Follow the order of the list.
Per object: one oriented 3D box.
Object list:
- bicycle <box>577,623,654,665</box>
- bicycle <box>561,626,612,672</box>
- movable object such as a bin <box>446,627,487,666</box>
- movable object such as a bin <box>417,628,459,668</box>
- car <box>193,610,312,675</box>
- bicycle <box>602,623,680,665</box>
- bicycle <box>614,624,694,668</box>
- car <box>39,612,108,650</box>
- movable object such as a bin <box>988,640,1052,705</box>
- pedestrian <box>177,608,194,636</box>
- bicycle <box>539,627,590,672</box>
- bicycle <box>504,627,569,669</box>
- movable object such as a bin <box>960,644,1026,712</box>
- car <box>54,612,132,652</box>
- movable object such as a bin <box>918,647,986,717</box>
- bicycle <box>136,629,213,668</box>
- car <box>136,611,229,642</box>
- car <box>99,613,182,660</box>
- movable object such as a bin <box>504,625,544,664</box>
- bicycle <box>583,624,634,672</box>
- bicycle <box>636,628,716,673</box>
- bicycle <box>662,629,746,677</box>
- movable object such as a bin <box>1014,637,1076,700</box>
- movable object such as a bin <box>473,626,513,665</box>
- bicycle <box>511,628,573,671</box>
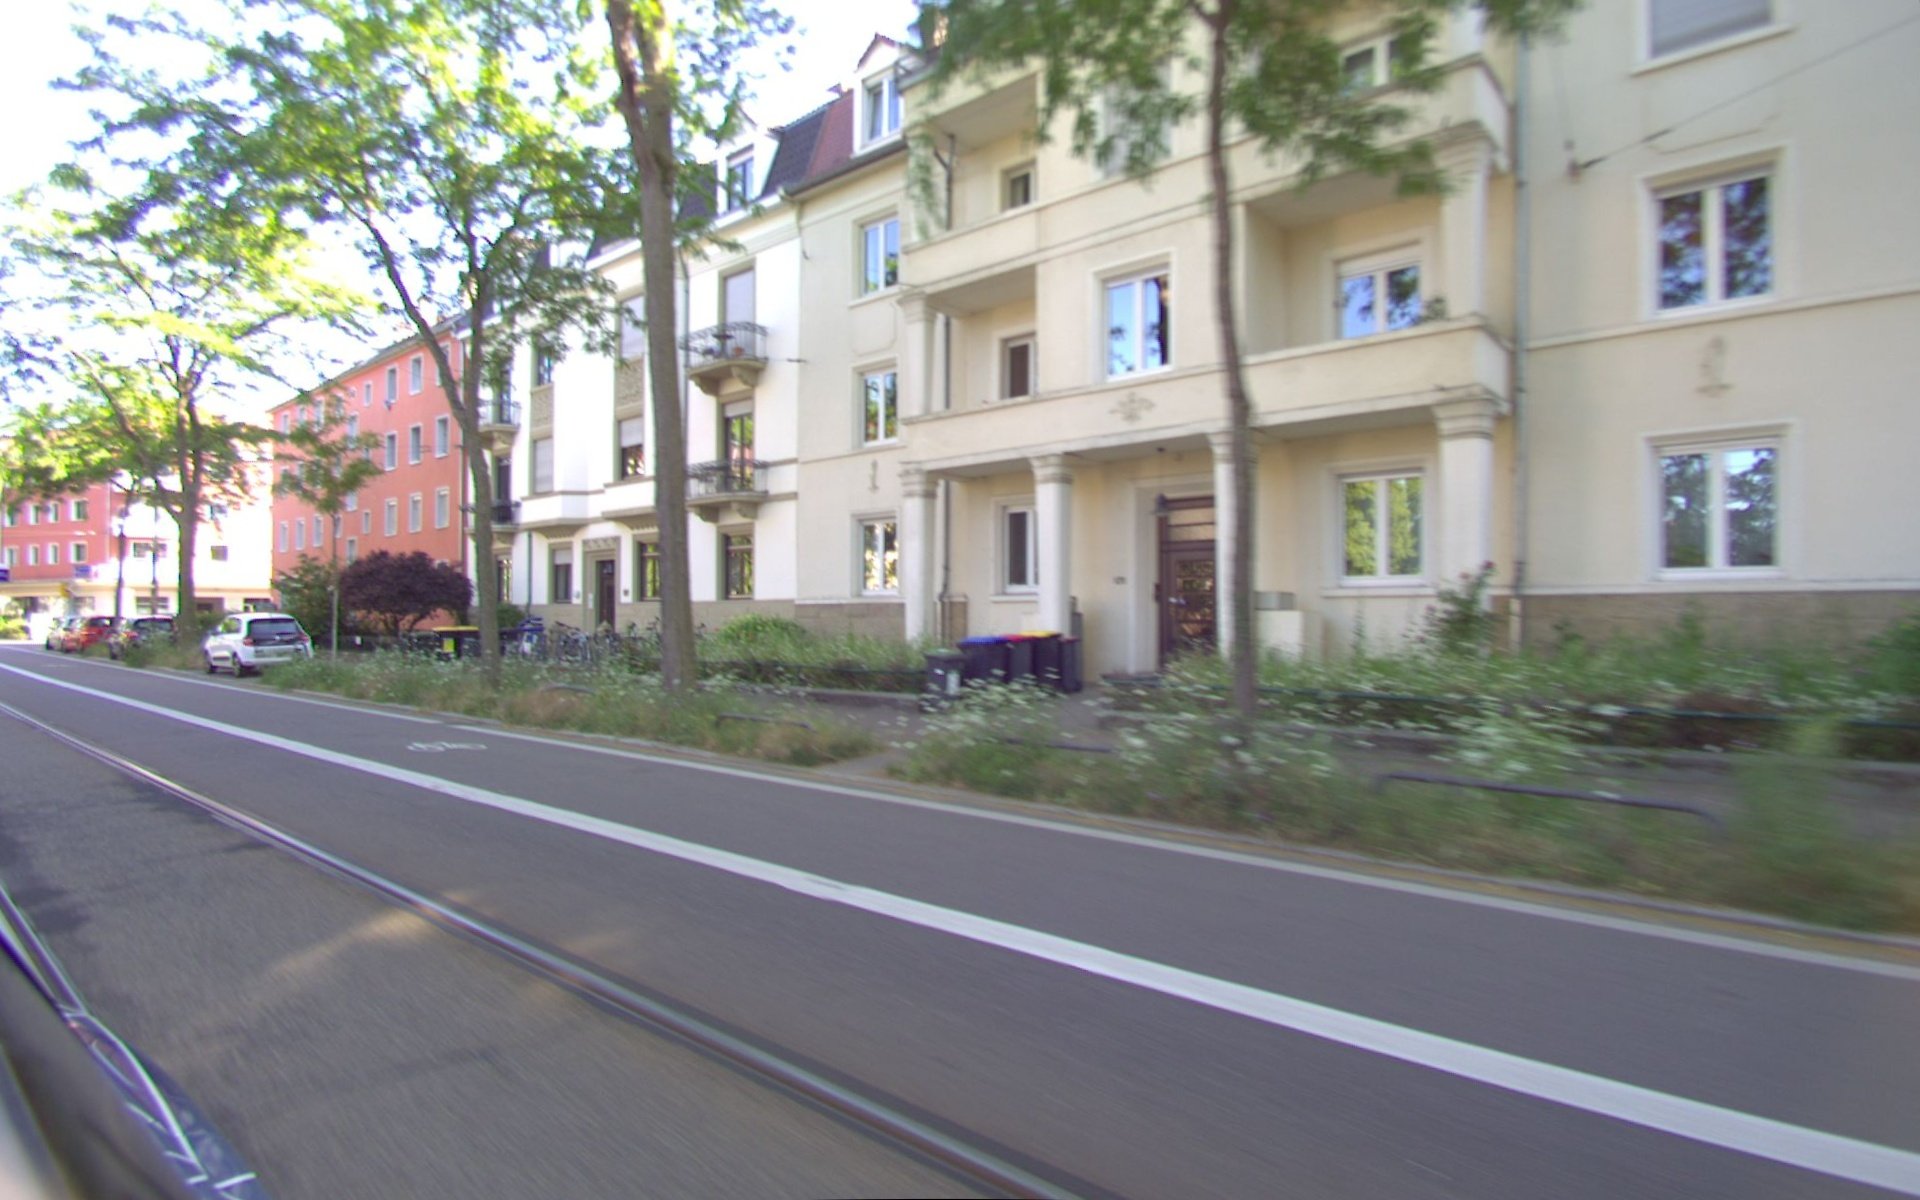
[{"bbox_3d":[-9.030,1.145,26.574,1.833,1.004,0.559,-2,-1,-8],"label":"bicycle"},{"bbox_3d":[-8.454,1.092,22.990,0.550,1.004,1.863,0,-1,-3],"label":"bicycle"},{"bbox_3d":[-13.802,1.299,28.285,0.895,1.062,0.730,-1,-2,41],"label":"movable object such as a bin"},{"bbox_3d":[-14.295,1.300,27.724,0.895,1.049,0.730,-1,-2,41],"label":"movable object such as a bin"},{"bbox_3d":[-18.313,1.061,26.138,3.686,1.547,1.609,-1,-1,39],"label":"car"},{"bbox_3d":[-8.164,1.120,25.956,1.833,1.004,0.559,-2,-1,-8],"label":"bicycle"},{"bbox_3d":[-7.630,1.132,25.269,1.833,1.004,0.559,-2,-1,-8],"label":"bicycle"},{"bbox_3d":[-37.768,1.289,43.093,4.092,1.517,1.558,-1,-1,39],"label":"car"},{"bbox_3d":[0.916,1.083,15.352,0.739,0.928,0.621,-1,0,41],"label":"movable object such as a bin"},{"bbox_3d":[-50.397,1.445,65.845,0.791,1.779,0.510,1,-2,-30],"label":"pedestrian"},{"bbox_3d":[-9.254,1.134,23.760,0.550,1.004,1.863,0,-1,-3],"label":"bicycle"},{"bbox_3d":[-10.662,1.192,25.564,0.552,1.004,1.855,0,-1,12],"label":"bicycle"},{"bbox_3d":[0.481,1.128,14.887,0.739,0.928,0.621,-1,0,41],"label":"movable object such as a bin"},{"bbox_3d":[-33.975,1.231,39.627,4.091,1.465,1.558,-1,-1,38],"label":"car"},{"bbox_3d":[-0.116,1.152,14.489,0.739,0.928,0.621,-1,0,41],"label":"movable object such as a bin"},{"bbox_3d":[-24.055,1.465,31.004,0.542,1.129,1.793,-1,-1,41],"label":"bicycle"},{"bbox_3d":[-46.487,1.584,60.625,4.216,1.793,1.793,1,-2,-33],"label":"car"},{"bbox_3d":[-27.352,1.194,33.750,3.666,1.465,1.538,-1,-1,41],"label":"car"},{"bbox_3d":[-12.737,1.296,29.570,0.895,1.122,0.730,-1,-2,41],"label":"movable object such as a bin"},{"bbox_3d":[-7.714,1.030,22.264,0.550,1.004,1.863,0,-1,-3],"label":"bicycle"},{"bbox_3d":[-6.911,1.221,24.648,1.831,1.004,0.560,-2,-1,-15],"label":"bicycle"},{"bbox_3d":[-5.868,1.208,23.225,1.831,1.004,0.560,-2,-1,-15],"label":"bicycle"},{"bbox_3d":[1.337,1.052,15.860,0.739,0.928,0.621,-1,0,41],"label":"movable object such as a bin"},{"bbox_3d":[-13.314,1.297,28.863,0.895,1.093,0.730,-1,-2,41],"label":"movable object such as a bin"},{"bbox_3d":[-10.123,1.177,24.559,0.551,1.004,1.858,0,-1,7],"label":"bicycle"}]
